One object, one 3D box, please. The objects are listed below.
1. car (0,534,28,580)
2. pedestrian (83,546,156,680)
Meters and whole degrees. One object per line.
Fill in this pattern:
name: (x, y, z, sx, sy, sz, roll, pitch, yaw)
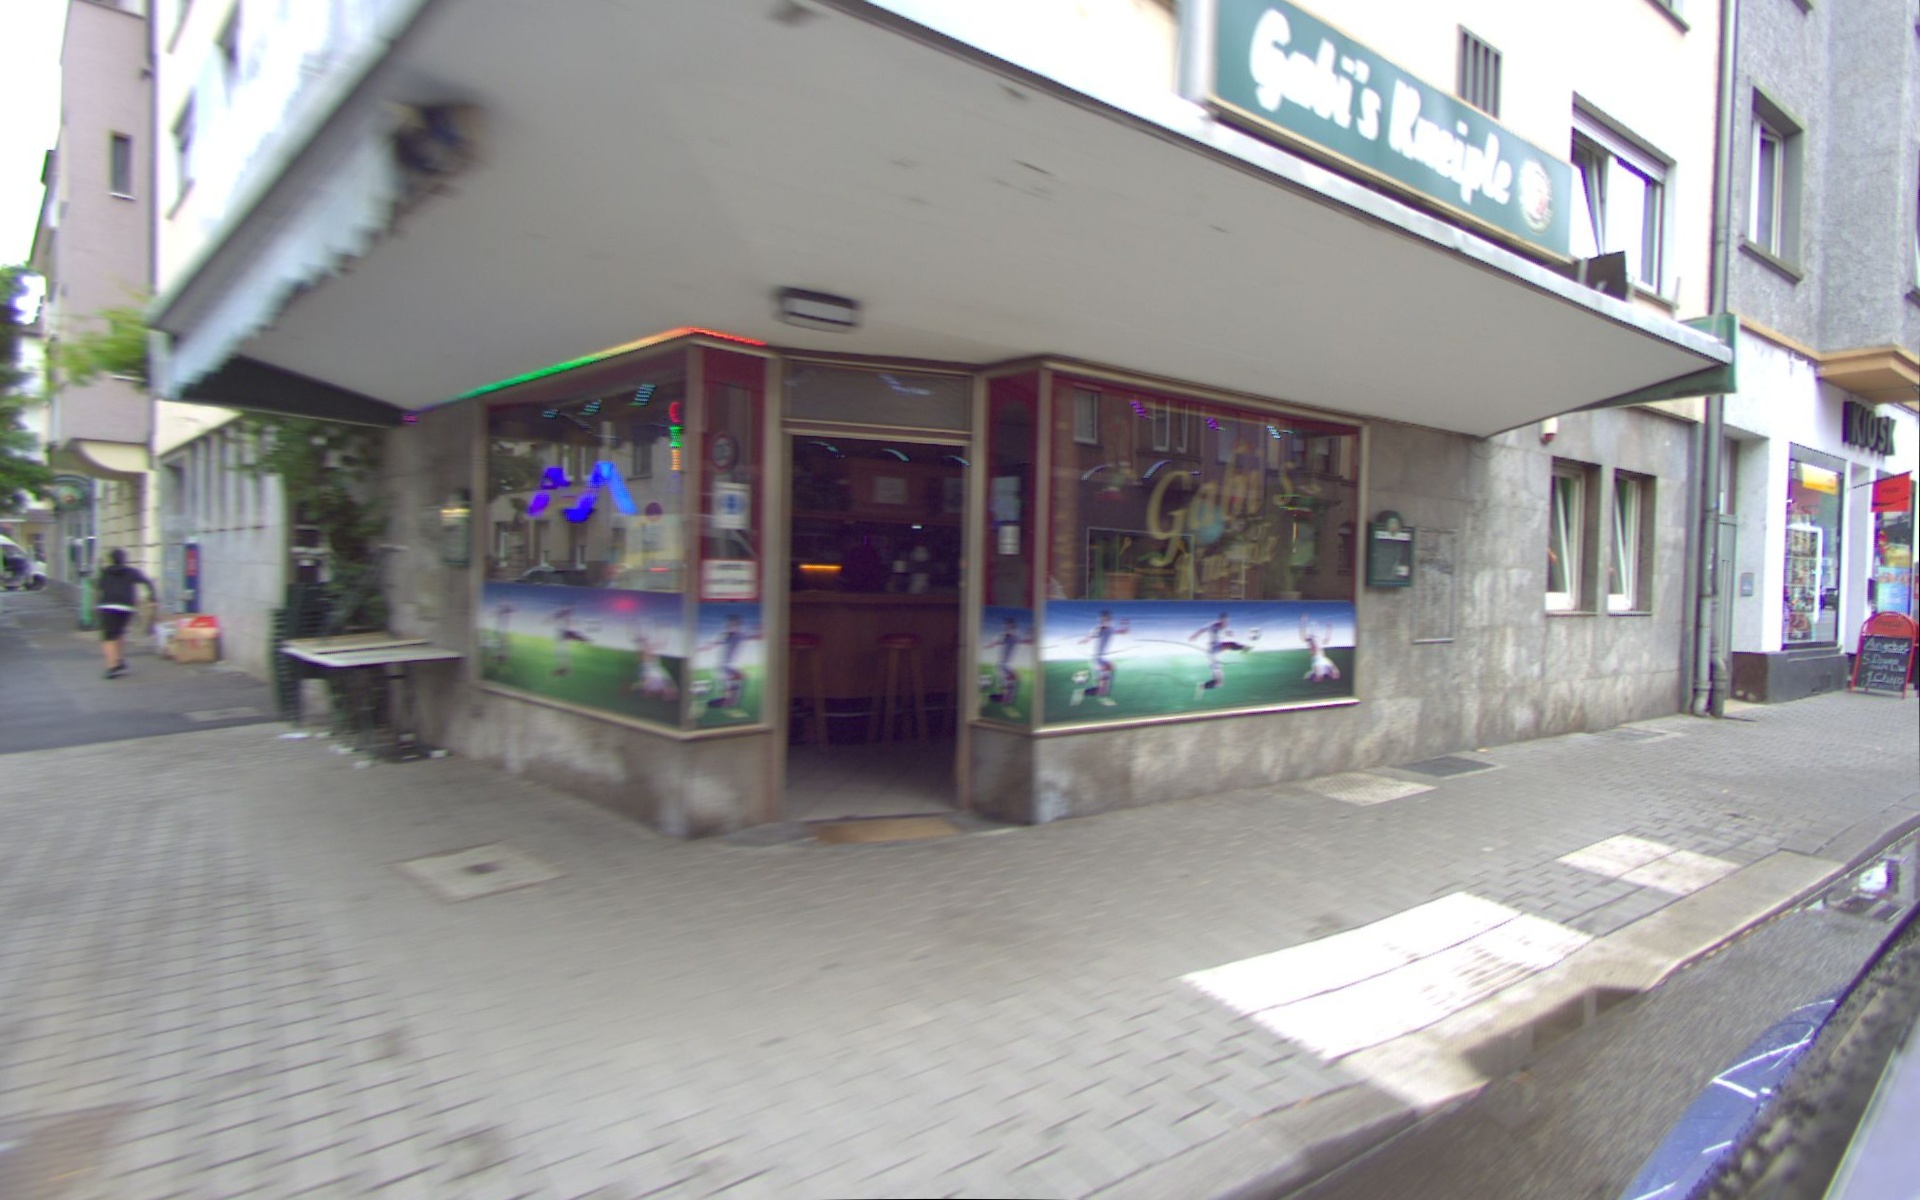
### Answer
car: (-44.048, -1.916, 44.569, 1.978, 2.038, 3.970, 2, 2, 23)
pedestrian: (-10.370, 0.137, 12.484, 0.635, 1.593, 0.703, 0, 2, -44)
